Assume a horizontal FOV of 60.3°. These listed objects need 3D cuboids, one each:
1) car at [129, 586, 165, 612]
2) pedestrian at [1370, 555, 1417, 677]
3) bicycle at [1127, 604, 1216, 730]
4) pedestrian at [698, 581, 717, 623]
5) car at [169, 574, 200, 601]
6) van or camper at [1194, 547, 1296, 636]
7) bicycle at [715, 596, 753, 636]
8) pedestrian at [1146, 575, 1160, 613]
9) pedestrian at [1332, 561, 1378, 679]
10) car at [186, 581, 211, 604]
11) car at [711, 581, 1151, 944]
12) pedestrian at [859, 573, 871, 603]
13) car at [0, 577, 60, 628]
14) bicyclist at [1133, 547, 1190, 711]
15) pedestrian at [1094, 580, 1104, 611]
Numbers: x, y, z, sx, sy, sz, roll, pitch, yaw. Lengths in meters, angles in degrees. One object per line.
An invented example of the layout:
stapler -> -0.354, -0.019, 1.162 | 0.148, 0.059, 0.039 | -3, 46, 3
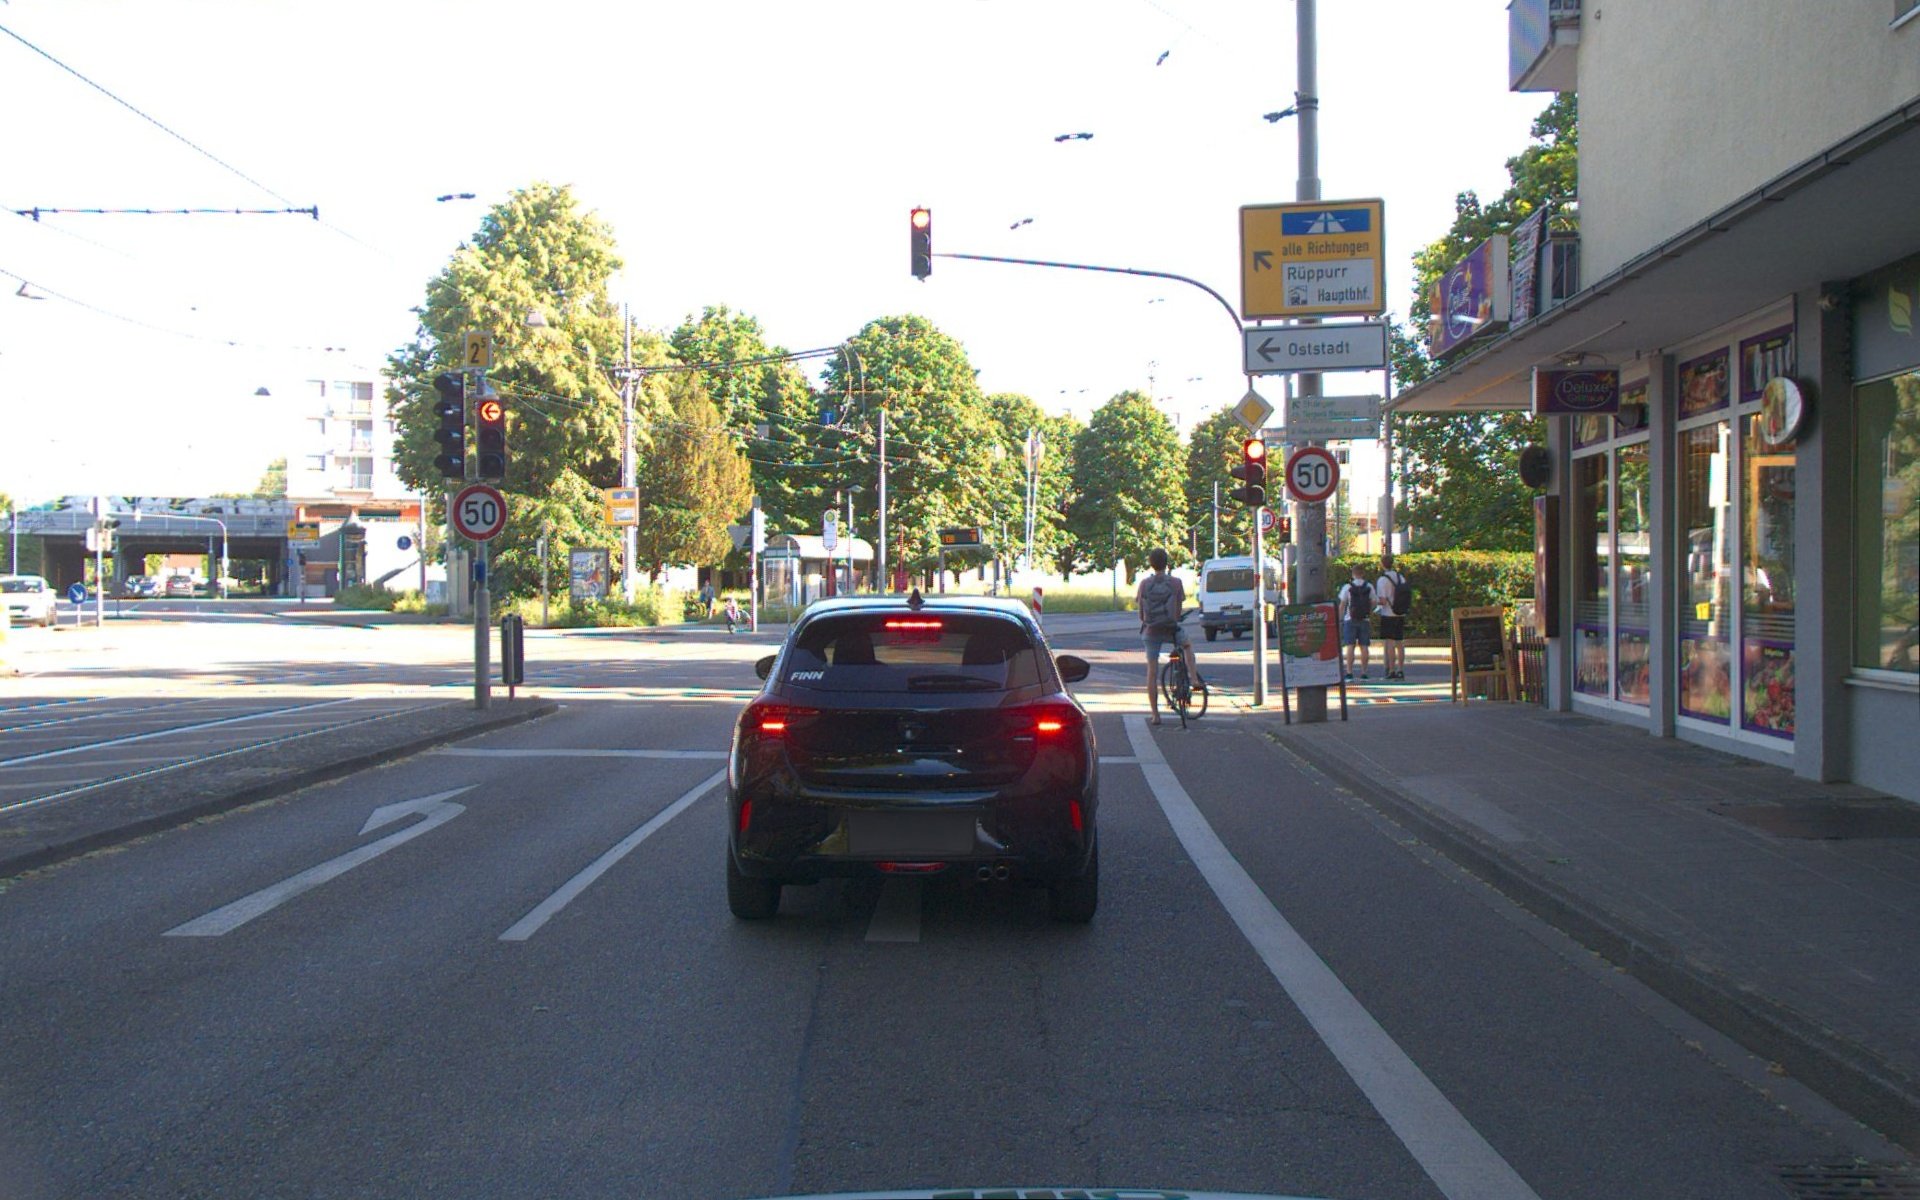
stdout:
car -> -52.964, -0.078, 107.805 | 1.860, 1.613, 3.809 | 1, 0, -24
pedestrian -> 6.720, 0.246, 25.616 | 0.620, 1.852, 0.745 | 1, -1, 19
bicycle -> 2.327, 0.689, 17.974 | 0.737, 1.256, 2.017 | 0, 1, 14
pedestrian -> -9.188, 0.069, 60.187 | 0.558, 1.498, 0.666 | 0, 0, 0
car -> -57.161, -0.939, 121.957 | 1.883, 1.914, 4.810 | -1, 1, -24
van or camper -> 8.030, -0.226, 46.319 | 1.987, 2.351, 4.540 | 1, 0, 20
bicycle -> -6.308, 0.428, 46.197 | 0.780, 1.083, 2.184 | 0, 1, -1
pedestrian -> 9.803, -0.312, 83.935 | 0.591, 1.904, 0.519 | 1, -1, 20
pedestrian -> 6.130, 0.309, 25.684 | 0.620, 1.794, 0.582 | 1, -1, 19
car -> -59.763, -0.568, 129.902 | 1.732, 1.713, 3.712 | 1, 0, -25
car -> -0.145, 0.649, 8.799 | 1.803, 1.487, 3.983 | 0, 1, -1
pedestrian -> -6.261, -0.787, 108.687 | 0.723, 1.904, 0.661 | 1, -1, -7
car -> -31.124, 0.074, 54.846 | 1.860, 1.613, 3.809 | 1, 0, -24
bicyclist -> 2.170, 0.302, 17.780 | 0.522, 1.722, 0.568 | 0, 0, 16
pedestrian -> 8.374, -0.270, 99.781 | 0.591, 1.904, 0.520 | 1, -1, 6
